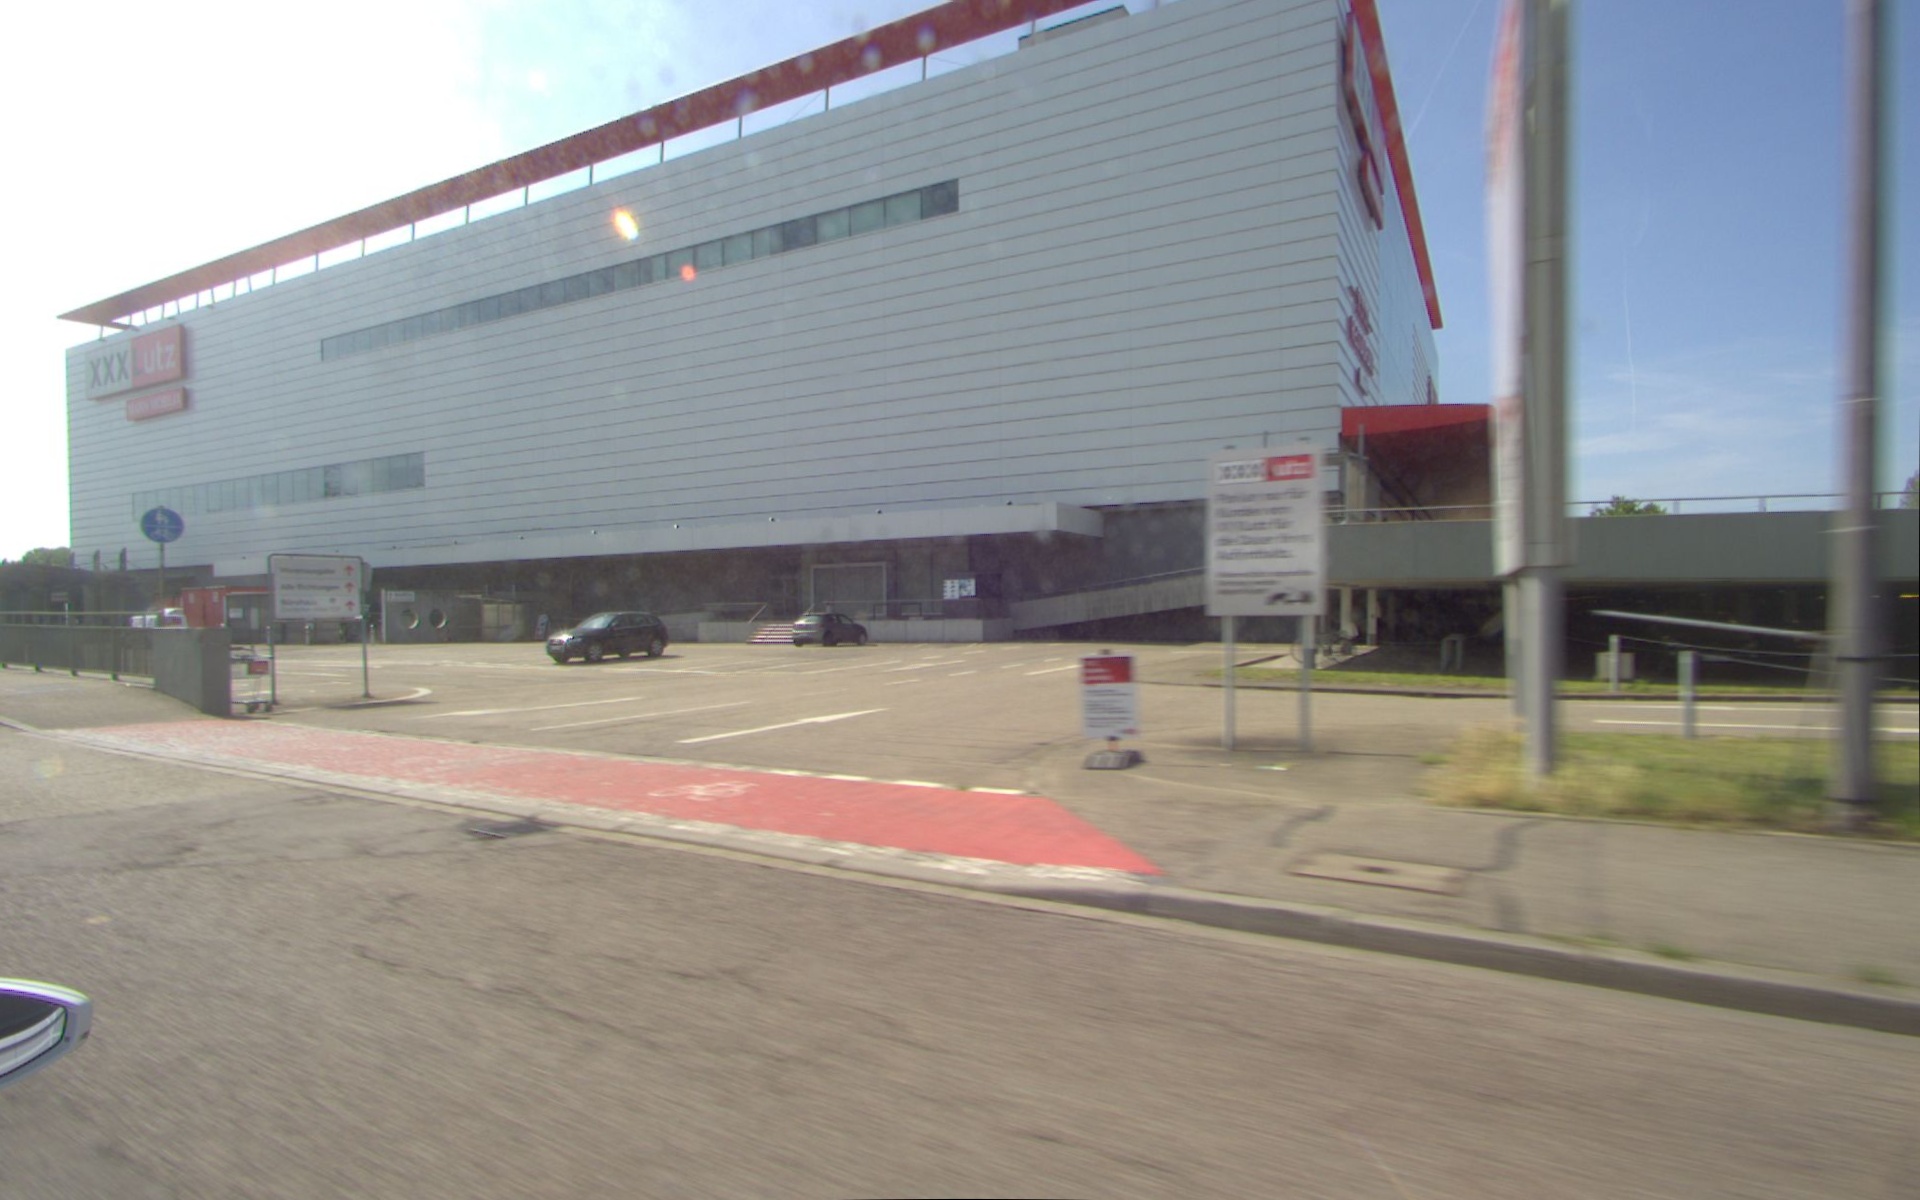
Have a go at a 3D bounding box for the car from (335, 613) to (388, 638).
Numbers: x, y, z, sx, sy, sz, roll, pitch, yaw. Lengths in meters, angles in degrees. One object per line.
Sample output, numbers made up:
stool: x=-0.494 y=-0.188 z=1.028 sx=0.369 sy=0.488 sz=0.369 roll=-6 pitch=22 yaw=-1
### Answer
car: x=-36.473 y=1.557 z=61.021 sx=3.206 sy=1.487 sz=1.508 roll=0 pitch=-1 yaw=32

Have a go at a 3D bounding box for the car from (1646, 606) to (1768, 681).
car: x=17.956 y=1.015 z=24.255 sx=1.724 sy=1.647 sz=4.150 roll=0 pitch=-2 yaw=28

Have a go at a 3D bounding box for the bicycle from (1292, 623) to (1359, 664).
bicycle: x=10.115 y=1.196 z=27.744 sx=1.683 sy=1.074 sz=0.510 roll=0 pitch=0 yaw=32

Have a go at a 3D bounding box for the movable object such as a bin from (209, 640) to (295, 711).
movable object such as a bin: x=-12.027 y=1.258 z=17.005 sx=1.165 sy=1.128 sz=0.808 roll=-1 pitch=0 yaw=32

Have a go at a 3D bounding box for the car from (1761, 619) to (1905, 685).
car: x=20.438 y=1.178 z=23.621 sx=1.662 sy=1.405 sz=3.871 roll=0 pitch=-2 yaw=27

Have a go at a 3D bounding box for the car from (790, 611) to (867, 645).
car: x=-5.670 y=1.232 z=43.537 sx=1.578 sy=1.394 sz=3.515 roll=0 pitch=-2 yaw=27

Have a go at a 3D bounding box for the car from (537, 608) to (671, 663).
car: x=-12.435 y=1.190 z=35.273 sx=1.809 sy=1.636 sz=4.418 roll=0 pitch=2 yaw=27

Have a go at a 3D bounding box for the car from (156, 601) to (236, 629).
car: x=-54.492 y=1.055 z=71.491 sx=1.750 sy=1.954 sz=4.182 roll=0 pitch=-1 yaw=30

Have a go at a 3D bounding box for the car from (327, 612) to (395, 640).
car: x=-34.164 y=1.450 z=57.100 sx=4.034 sy=1.529 sz=1.670 roll=0 pitch=-1 yaw=32

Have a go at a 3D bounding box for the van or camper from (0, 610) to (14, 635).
van or camper: x=-89.296 y=1.963 z=90.407 sx=2.066 sy=2.205 sz=5.438 roll=-1 pitch=-3 yaw=12

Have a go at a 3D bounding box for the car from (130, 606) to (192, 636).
car: x=-48.804 y=1.292 z=61.151 sx=4.034 sy=1.774 sz=1.670 roll=0 pitch=-1 yaw=32

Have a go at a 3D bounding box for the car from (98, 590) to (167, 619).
car: x=-68.025 y=0.376 z=82.404 sx=1.653 sy=2.303 sz=4.075 roll=0 pitch=-1 yaw=30
